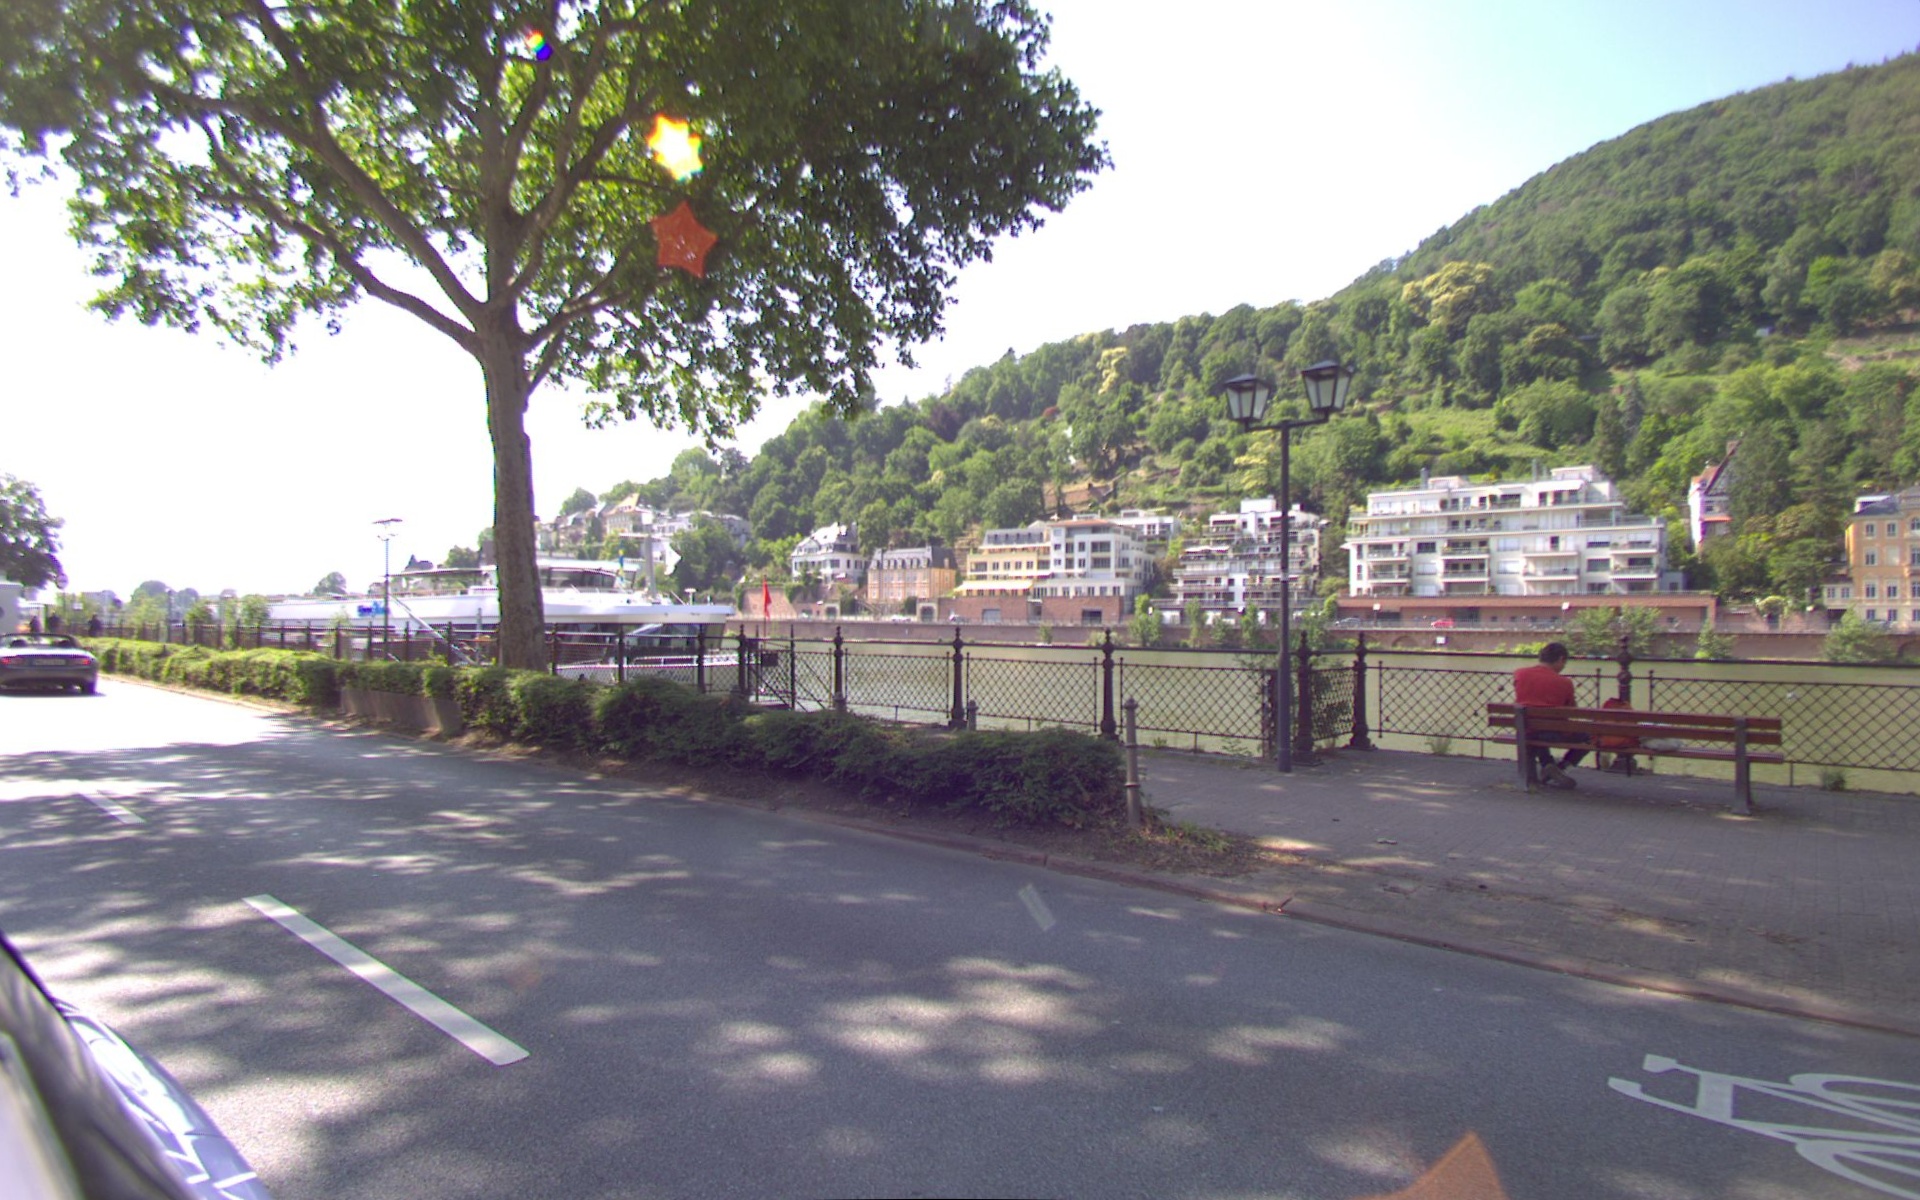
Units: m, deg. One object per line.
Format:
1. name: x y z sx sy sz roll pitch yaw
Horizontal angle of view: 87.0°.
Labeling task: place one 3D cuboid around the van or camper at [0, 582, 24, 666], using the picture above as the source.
1. van or camper: -33.427 0.750 33.867 6.261 2.682 2.298 -1 -3 41

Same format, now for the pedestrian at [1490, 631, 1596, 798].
1. pedestrian: 5.014 0.943 8.695 0.656 1.318 0.695 -1 0 42

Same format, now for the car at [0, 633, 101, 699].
1. car: -18.983 1.301 20.598 3.483 1.220 1.681 -1 -4 40
